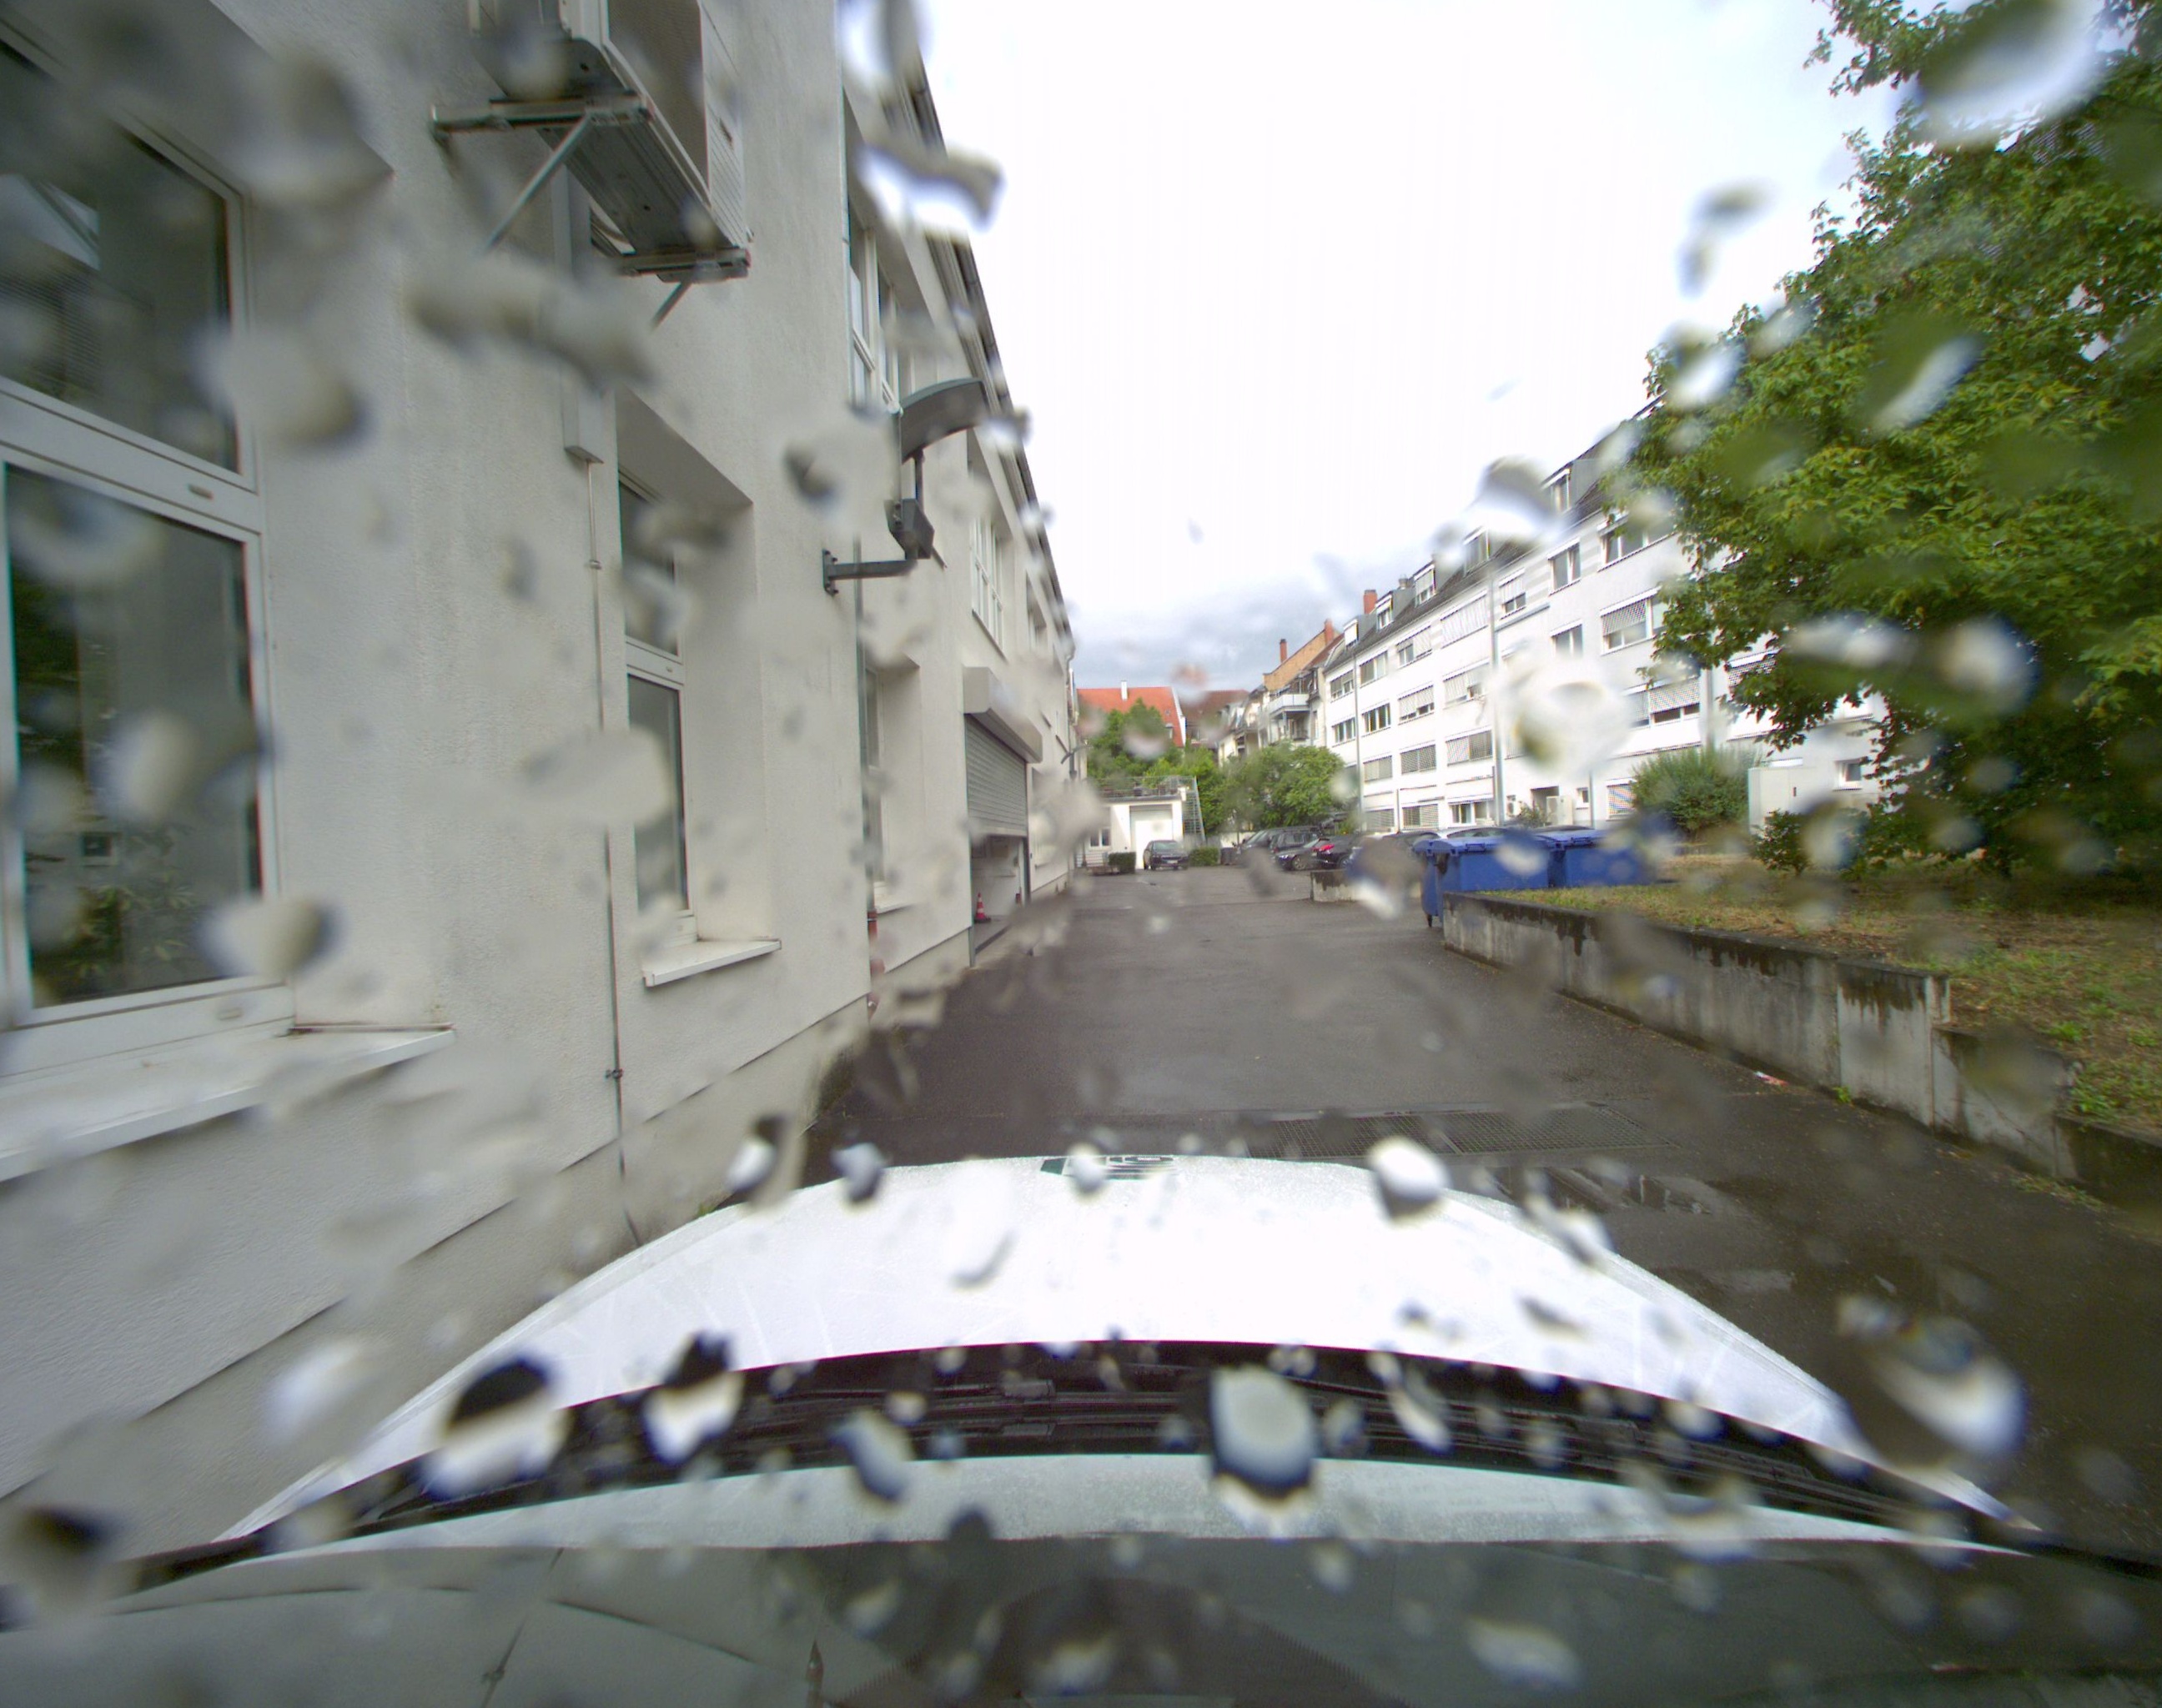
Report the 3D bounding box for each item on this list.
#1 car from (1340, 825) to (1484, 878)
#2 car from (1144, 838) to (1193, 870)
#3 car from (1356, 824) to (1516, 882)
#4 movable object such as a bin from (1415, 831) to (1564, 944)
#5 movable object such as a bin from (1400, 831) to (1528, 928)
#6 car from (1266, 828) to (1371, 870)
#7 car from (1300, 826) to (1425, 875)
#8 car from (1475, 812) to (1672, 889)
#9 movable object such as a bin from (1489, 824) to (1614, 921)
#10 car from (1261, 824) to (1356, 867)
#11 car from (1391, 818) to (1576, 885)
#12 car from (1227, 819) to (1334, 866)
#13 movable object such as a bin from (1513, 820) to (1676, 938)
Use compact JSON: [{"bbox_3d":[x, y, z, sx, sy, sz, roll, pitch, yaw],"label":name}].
[{"bbox_3d":[10.823,-0.094,26.814,3.978,1.458,1.771,-3,0,-3],"label":"car"},{"bbox_3d":[4.298,-0.038,40.588,1.972,1.444,4.000,-2,1,1],"label":"car"},{"bbox_3d":[10.559,-0.041,24.420,3.977,1.403,1.772,-4,1,-3],"label":"car"},{"bbox_3d":[5.133,0.395,10.334,1.331,1.291,1.097,-3,1,4],"label":"movable object such as a bin"},{"bbox_3d":[5.637,0.361,12.088,1.365,1.304,1.084,-3,0,4],"label":"movable object such as a bin"},{"bbox_3d":[10.060,-0.204,34.674,3.900,1.513,1.750,-4,0,-3],"label":"car"},{"bbox_3d":[10.369,-0.135,30.140,3.903,1.513,1.817,-4,0,-5],"label":"car"},{"bbox_3d":[11.130,-0.079,18.577,3.404,1.427,1.688,-4,0,0],"label":"car"},{"bbox_3d":[6.929,0.252,12.060,1.180,1.304,1.108,-3,0,3],"label":"movable object such as a bin"},{"bbox_3d":[10.545,-0.398,37.940,3.895,1.687,1.817,-4,0,1],"label":"car"},{"bbox_3d":[10.604,-0.079,21.647,3.975,1.445,1.806,-4,0,-1],"label":"car"},{"bbox_3d":[9.934,-0.582,40.724,4.633,2.003,2.219,-4,1,-8],"label":"car"},{"bbox_3d":[6.459,0.298,10.340,1.287,1.336,1.198,-3,0,4],"label":"movable object such as a bin"}]
